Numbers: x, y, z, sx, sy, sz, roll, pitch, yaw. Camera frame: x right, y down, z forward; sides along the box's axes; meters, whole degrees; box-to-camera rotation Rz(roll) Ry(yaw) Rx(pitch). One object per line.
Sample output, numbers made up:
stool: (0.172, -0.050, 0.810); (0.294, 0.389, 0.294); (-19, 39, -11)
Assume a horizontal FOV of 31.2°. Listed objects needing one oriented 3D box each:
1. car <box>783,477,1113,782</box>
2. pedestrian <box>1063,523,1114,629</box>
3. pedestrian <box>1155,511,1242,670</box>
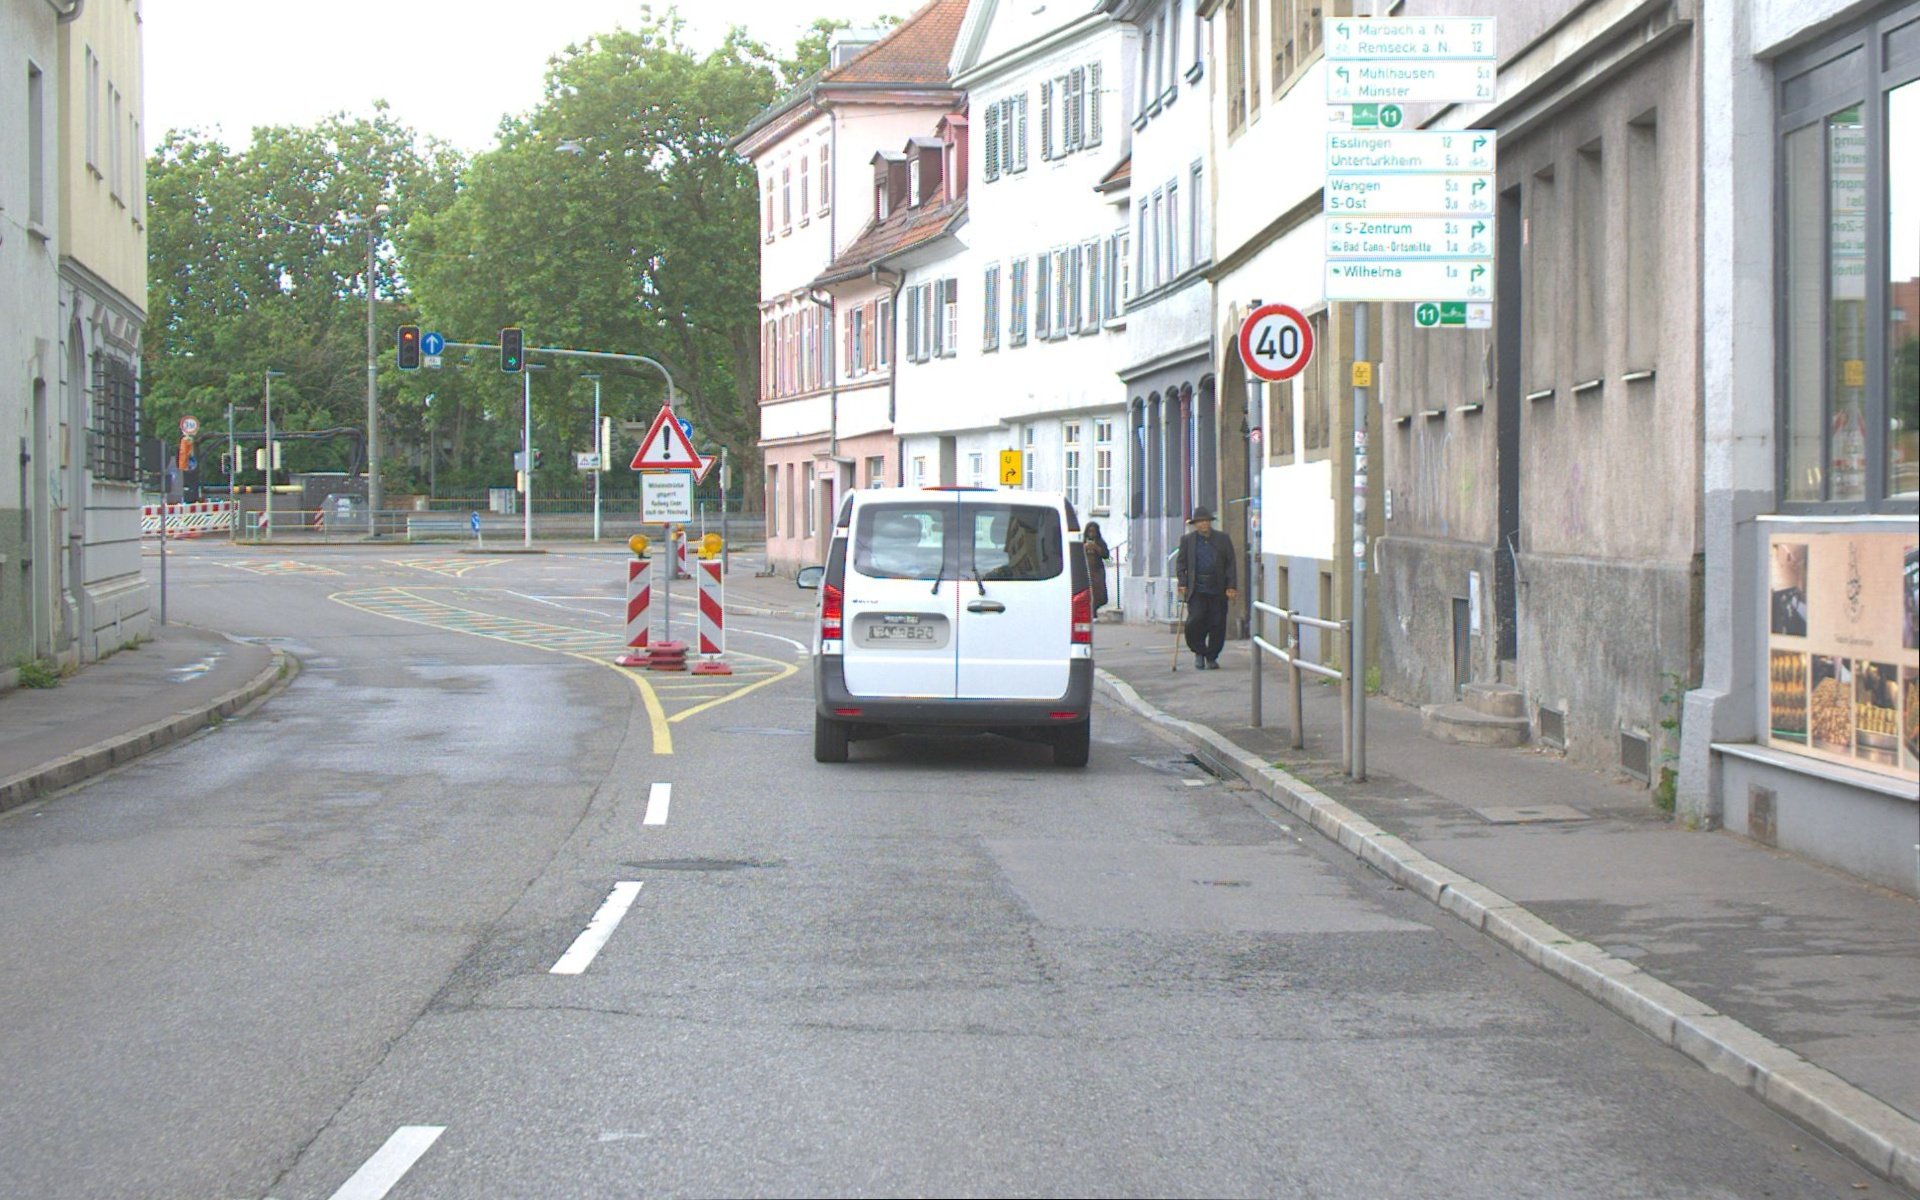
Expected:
car: (-0.184, 0.144, 24.427); (1.993, 1.916, 4.249); (2, 1, -4)
pedestrian: (2.045, -0.388, 54.960); (0.755, 1.662, 0.809); (0, 1, -1)
pedestrian: (2.518, -0.106, 36.388); (0.831, 1.650, 0.944); (0, 1, -1)
